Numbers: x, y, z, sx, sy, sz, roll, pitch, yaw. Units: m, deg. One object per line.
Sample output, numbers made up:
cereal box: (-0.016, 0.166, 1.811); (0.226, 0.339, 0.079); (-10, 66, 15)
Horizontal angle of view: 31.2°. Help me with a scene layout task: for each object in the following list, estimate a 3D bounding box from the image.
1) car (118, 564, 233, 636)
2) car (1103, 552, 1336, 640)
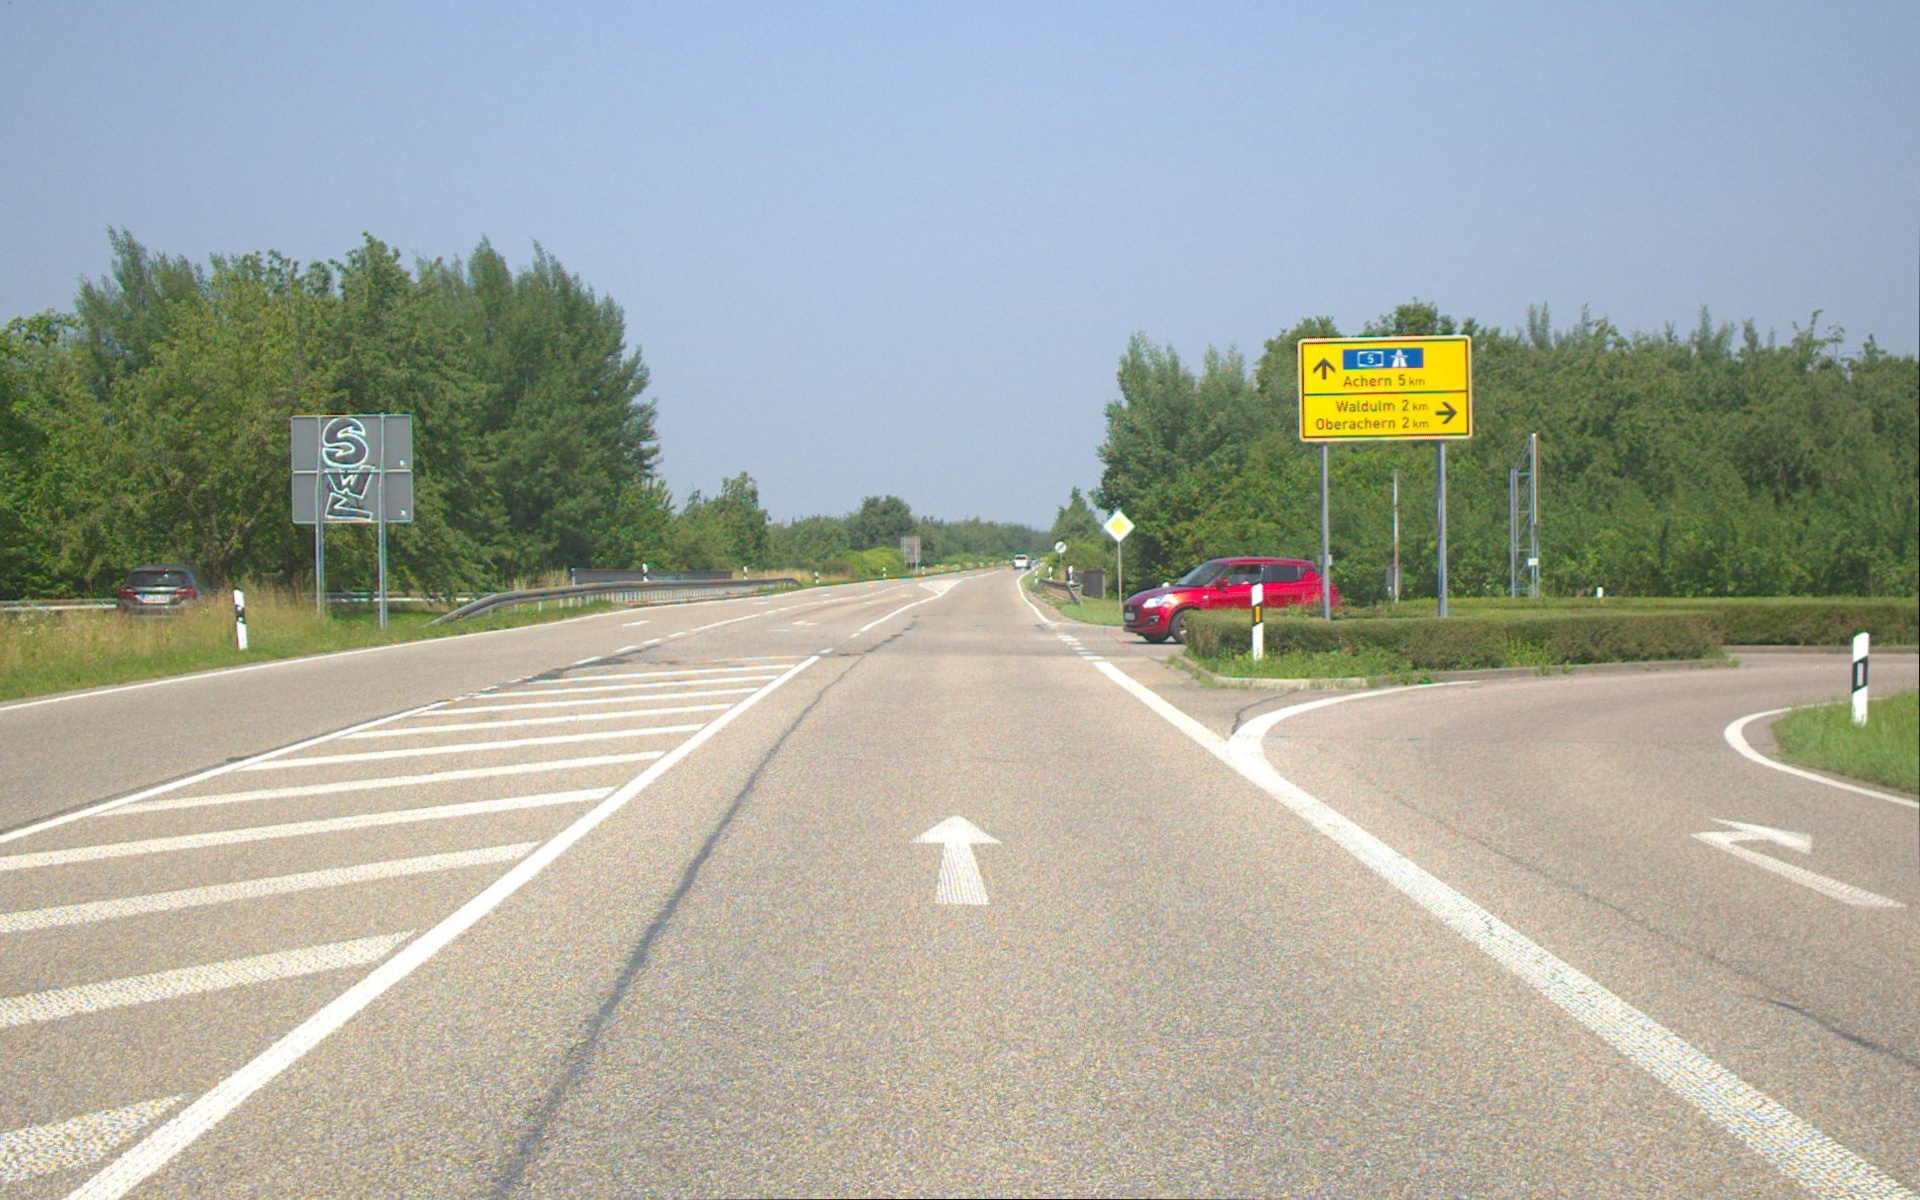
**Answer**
car: (-16.080, -0.019, 70.626); (1.704, 1.418, 4.044); (-1, 1, -4)
car: (4.574, -0.079, 60.727); (3.739, 1.487, 1.672); (1, 1, -17)
